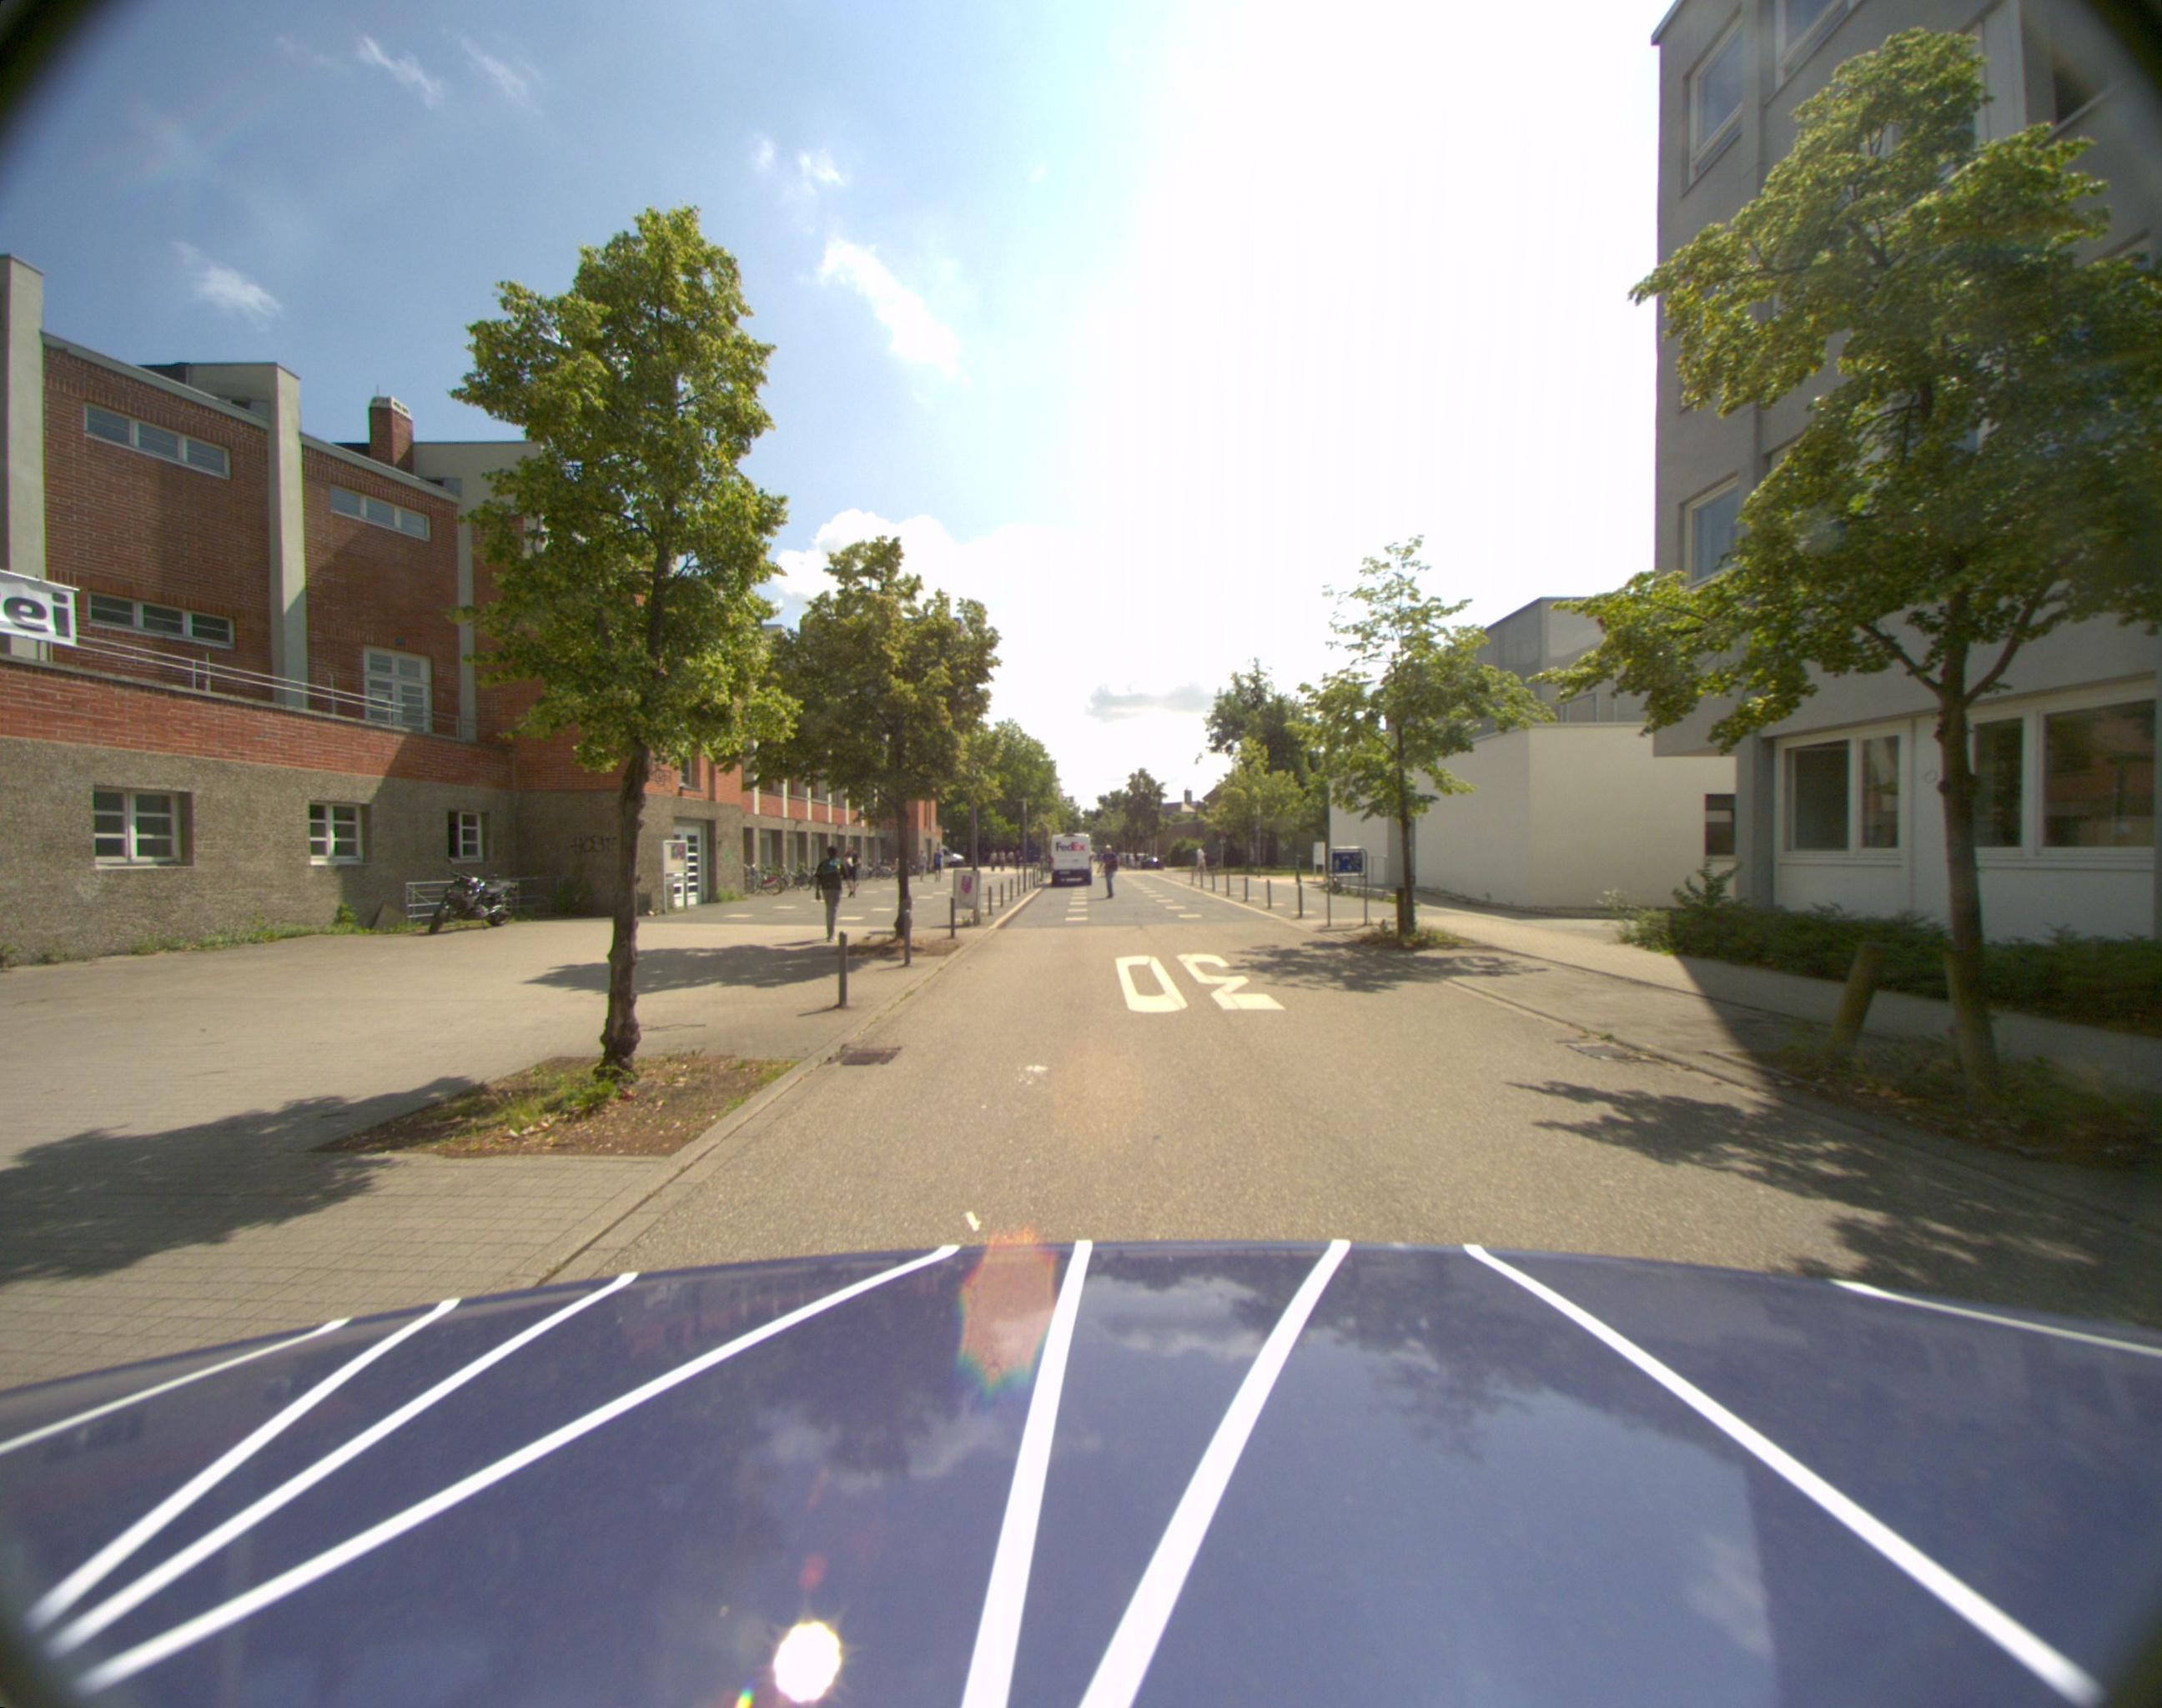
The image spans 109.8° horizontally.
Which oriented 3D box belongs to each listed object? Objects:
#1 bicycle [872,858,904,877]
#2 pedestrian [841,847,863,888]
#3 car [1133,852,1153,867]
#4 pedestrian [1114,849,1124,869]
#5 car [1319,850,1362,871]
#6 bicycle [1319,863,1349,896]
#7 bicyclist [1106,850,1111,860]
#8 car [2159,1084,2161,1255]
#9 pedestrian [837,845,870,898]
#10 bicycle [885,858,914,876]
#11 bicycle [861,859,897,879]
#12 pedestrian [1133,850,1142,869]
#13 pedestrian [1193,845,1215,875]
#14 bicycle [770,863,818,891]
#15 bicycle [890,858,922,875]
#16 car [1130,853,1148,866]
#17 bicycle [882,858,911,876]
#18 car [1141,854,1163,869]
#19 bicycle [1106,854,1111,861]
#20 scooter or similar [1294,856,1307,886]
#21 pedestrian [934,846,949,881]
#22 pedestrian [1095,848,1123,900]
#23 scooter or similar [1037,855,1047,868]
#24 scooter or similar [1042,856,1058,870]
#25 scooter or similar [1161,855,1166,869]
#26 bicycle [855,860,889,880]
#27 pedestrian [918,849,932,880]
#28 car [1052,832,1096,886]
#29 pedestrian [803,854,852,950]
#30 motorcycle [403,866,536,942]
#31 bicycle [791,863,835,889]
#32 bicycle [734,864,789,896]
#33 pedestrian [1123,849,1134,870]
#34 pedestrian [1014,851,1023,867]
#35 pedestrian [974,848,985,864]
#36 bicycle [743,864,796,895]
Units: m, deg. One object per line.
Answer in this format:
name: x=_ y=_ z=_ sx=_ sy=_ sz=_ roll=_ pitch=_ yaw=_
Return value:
bicycle: x=-11.410 y=0.821 z=44.987 sx=1.801 sy=1.103 sz=0.435 roll=0 pitch=1 yaw=-1
pedestrian: x=-10.222 y=0.592 z=33.942 sx=0.665 sy=1.823 sz=0.906 roll=0 pitch=1 yaw=-1
car: x=6.093 y=0.560 z=75.045 sx=1.635 sy=1.422 sz=3.632 roll=-1 pitch=0 yaw=0
pedestrian: x=3.324 y=0.424 z=67.101 sx=0.622 sy=1.706 sz=1.004 roll=0 pitch=0 yaw=-12
car: x=21.141 y=0.472 z=62.006 sx=1.899 sy=1.572 sz=4.648 roll=0 pitch=2 yaw=0
bicycle: x=8.617 y=0.843 z=25.935 sx=0.544 sy=1.055 sz=1.900 roll=0 pitch=0 yaw=5
bicyclist: x=4.260 y=0.201 z=118.103 sx=0.630 sy=1.597 sz=1.328 roll=0 pitch=1 yaw=-1
car: x=5.259 y=0.852 z=1.057 sx=1.701 sy=1.555 sz=4.067 roll=0 pitch=0 yaw=-1
pedestrian: x=-8.027 y=0.586 z=26.856 sx=0.846 sy=1.823 sz=1.197 roll=0 pitch=1 yaw=-5
bicycle: x=-11.313 y=0.826 z=47.310 sx=1.699 sy=1.103 sz=0.435 roll=0 pitch=1 yaw=-1
bicycle: x=-11.450 y=0.844 z=43.175 sx=1.916 sy=1.103 sz=0.435 roll=0 pitch=1 yaw=-1
pedestrian: x=5.025 y=0.463 z=67.437 sx=0.558 sy=1.706 sz=0.972 roll=-1 pitch=1 yaw=-11
pedestrian: x=7.676 y=0.346 z=47.285 sx=1.022 sy=1.837 sz=0.918 roll=2 pitch=1 yaw=31
bicycle: x=-11.596 y=0.936 z=30.755 sx=1.752 sy=1.103 sz=0.435 roll=0 pitch=1 yaw=-1
bicycle: x=-11.306 y=0.804 z=49.117 sx=1.935 sy=1.103 sz=0.456 roll=0 pitch=1 yaw=-1
car: x=6.119 y=0.583 z=80.654 sx=1.648 sy=1.368 sz=4.000 roll=0 pitch=0 yaw=1
bicycle: x=-11.306 y=0.816 z=46.614 sx=1.655 sy=1.103 sz=0.435 roll=0 pitch=1 yaw=-1
car: x=6.339 y=0.627 z=68.545 sx=1.701 sy=1.287 sz=3.762 roll=0 pitch=0 yaw=1
bicycle: x=4.250 y=0.543 z=118.060 sx=0.626 sy=1.135 sz=1.812 roll=0 pitch=0 yaw=-1
scooter or similar: x=9.530 y=0.736 z=32.978 sx=0.483 sy=1.256 sz=1.314 roll=0 pitch=1 yaw=13
pedestrian: x=-7.707 y=0.529 z=41.902 sx=0.666 sy=1.879 sz=1.109 roll=0 pitch=1 yaw=-2
pedestrian: x=0.989 y=0.703 z=27.047 sx=0.825 sy=1.807 sz=1.144 roll=0 pitch=1 yaw=-5
scooter or similar: x=-3.556 y=0.684 z=69.509 sx=0.575 sy=1.173 sz=1.479 roll=0 pitch=0 yaw=14
scooter or similar: x=-2.721 y=0.795 z=67.284 sx=1.352 sy=1.223 sz=0.577 roll=0 pitch=0 yaw=35
scooter or similar: x=7.013 y=0.666 z=64.558 sx=0.470 sy=1.209 sz=1.205 roll=0 pitch=1 yaw=6
bicycle: x=-11.407 y=0.863 z=41.499 sx=1.687 sy=1.103 sz=0.435 roll=0 pitch=1 yaw=-1
pedestrian: x=-8.629 y=0.565 z=41.960 sx=0.586 sy=1.697 sz=1.001 roll=0 pitch=1 yaw=-2
car: x=-0.416 y=0.232 z=38.808 sx=2.064 sy=2.528 sz=5.848 roll=0 pitch=0 yaw=-1
pedestrian: x=-4.599 y=0.844 z=13.830 sx=0.643 sy=1.687 sz=0.792 roll=0 pitch=1 yaw=-5
motorcycle: x=-11.832 y=0.926 z=14.816 sx=0.697 sy=1.315 sz=2.220 roll=0 pitch=1 yaw=3
bicycle: x=-11.375 y=0.923 z=32.293 sx=1.687 sy=1.103 sz=0.435 roll=0 pitch=1 yaw=-1
bicycle: x=-11.525 y=0.940 z=27.425 sx=1.757 sy=1.143 sz=0.435 roll=0 pitch=1 yaw=-1
pedestrian: x=4.178 y=0.470 z=67.180 sx=0.727 sy=1.776 sz=0.899 roll=-1 pitch=1 yaw=-13
pedestrian: x=-6.402 y=0.492 z=77.606 sx=0.785 sy=1.666 sz=1.078 roll=0 pitch=1 yaw=-11
pedestrian: x=-12.128 y=0.214 z=90.732 sx=0.984 sy=1.935 sz=0.976 roll=-1 pitch=1 yaw=-22
bicycle: x=-11.621 y=0.936 z=28.352 sx=1.757 sy=1.143 sz=0.518 roll=0 pitch=1 yaw=-1
